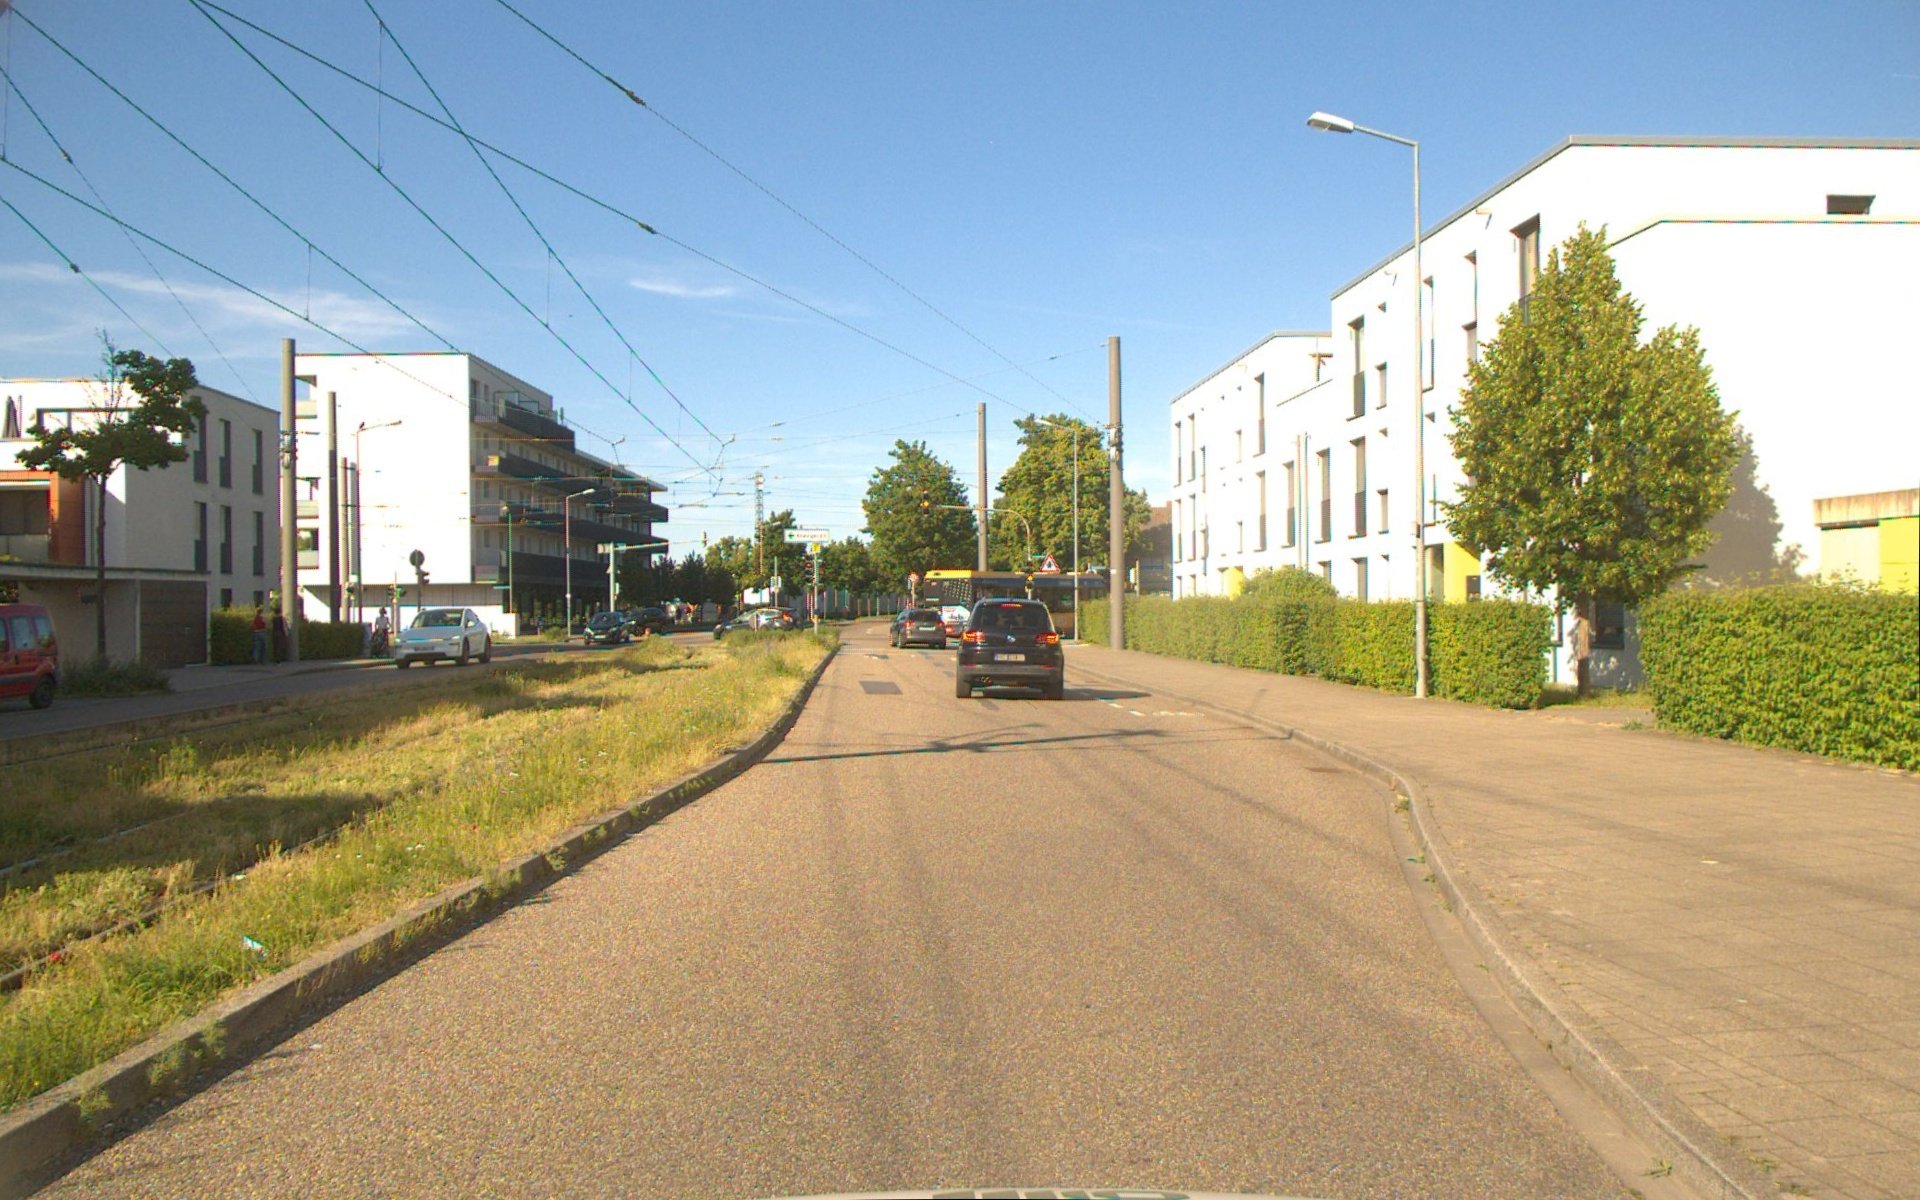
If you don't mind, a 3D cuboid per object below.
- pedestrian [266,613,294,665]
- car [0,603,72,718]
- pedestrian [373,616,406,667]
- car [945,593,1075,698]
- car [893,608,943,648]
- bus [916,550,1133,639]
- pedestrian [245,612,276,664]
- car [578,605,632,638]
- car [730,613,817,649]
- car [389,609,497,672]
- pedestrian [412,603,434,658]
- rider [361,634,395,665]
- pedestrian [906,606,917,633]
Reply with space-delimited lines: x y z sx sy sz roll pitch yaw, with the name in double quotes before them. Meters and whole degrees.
"pedestrian" -19.783 1.123 48.112 0.546 1.490 0.612 1 -1 -1
"car" -16.306 0.970 26.800 1.843 1.827 3.835 1 0 -2
"pedestrian" -20.188 1.468 58.530 0.798 1.779 0.909 1 -1 2
"car" 0.792 0.749 28.818 1.868 1.671 3.997 1 0 -4
"car" -1.610 1.033 62.604 1.716 1.411 3.997 1 0 -4
"bus" 3.308 -0.147 75.809 2.789 3.735 14.638 1 0 33
"pedestrian" -20.399 1.113 48.240 0.546 1.490 0.742 1 -1 -1
"car" -16.664 1.011 77.759 1.752 1.443 3.998 -2 0 -2
"car" -8.000 1.337 70.921 3.673 1.455 1.698 -2 0 42
"car" -14.822 1.130 47.687 1.955 1.624 4.641 -2 0 -5
"pedestrian" -20.075 1.132 61.844 0.748 2.049 0.666 1 -1 -16
"rider" -20.244 1.726 57.543 0.761 1.020 1.045 1 0 2
"pedestrian" -3.020 1.221 102.688 0.590 1.668 0.529 1 -1 2
